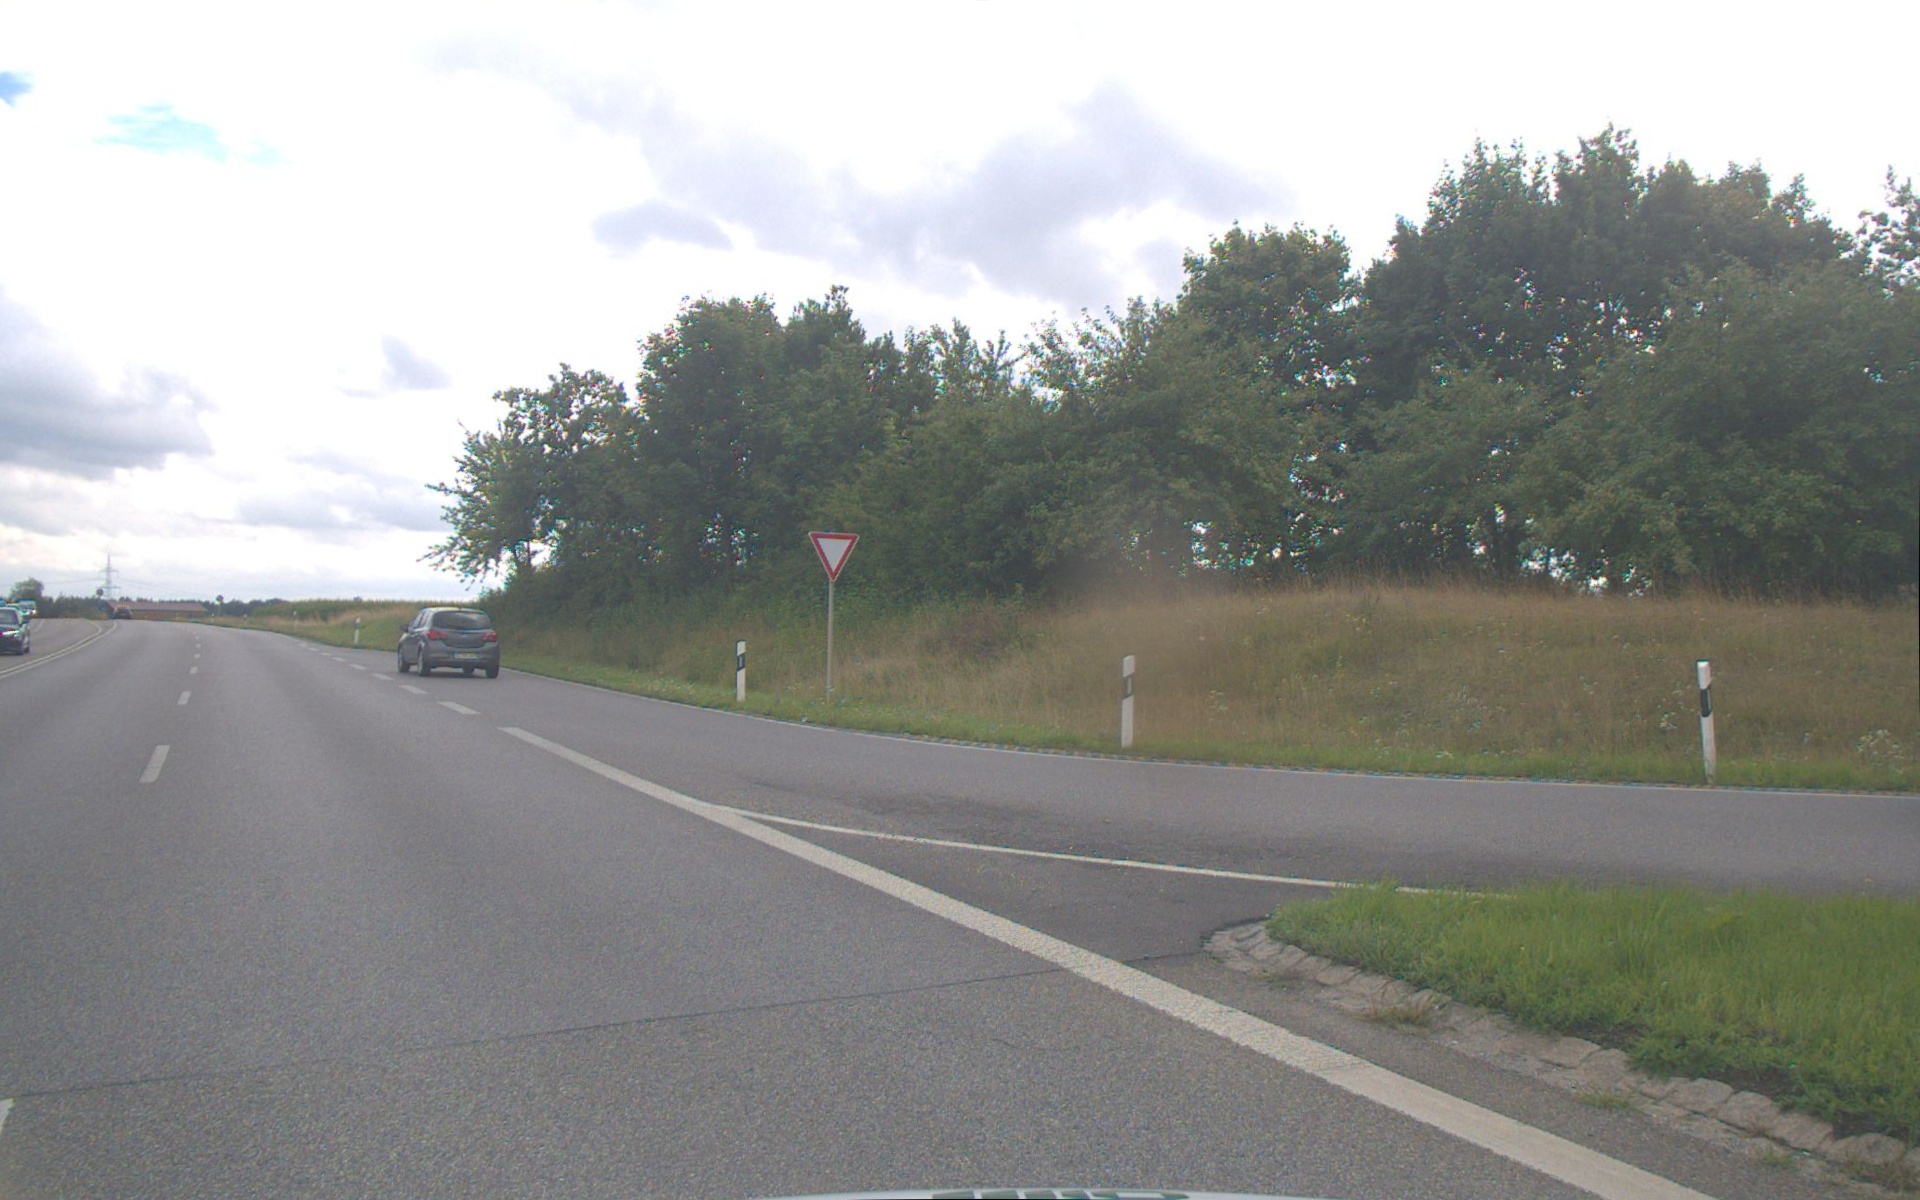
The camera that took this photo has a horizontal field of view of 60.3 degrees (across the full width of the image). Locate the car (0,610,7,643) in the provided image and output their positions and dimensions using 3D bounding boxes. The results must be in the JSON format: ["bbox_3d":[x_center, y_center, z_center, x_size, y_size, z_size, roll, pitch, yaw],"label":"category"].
[{"bbox_3d":[-46.822,1.238,79.134,1.971,1.520,4.946,0,0,-28],"label":"car"}]

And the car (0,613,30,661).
[{"bbox_3d":[-29.544,1.110,50.436,1.743,1.407,4.506,0,0,-26],"label":"car"}]

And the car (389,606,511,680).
[{"bbox_3d":[-11.474,0.926,37.061,1.970,1.562,3.965,1,-1,-27],"label":"car"}]

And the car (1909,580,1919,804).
[{"bbox_3d":[8.973,0.656,10.852,4.649,1.598,1.998,0,0,27],"label":"car"}]
